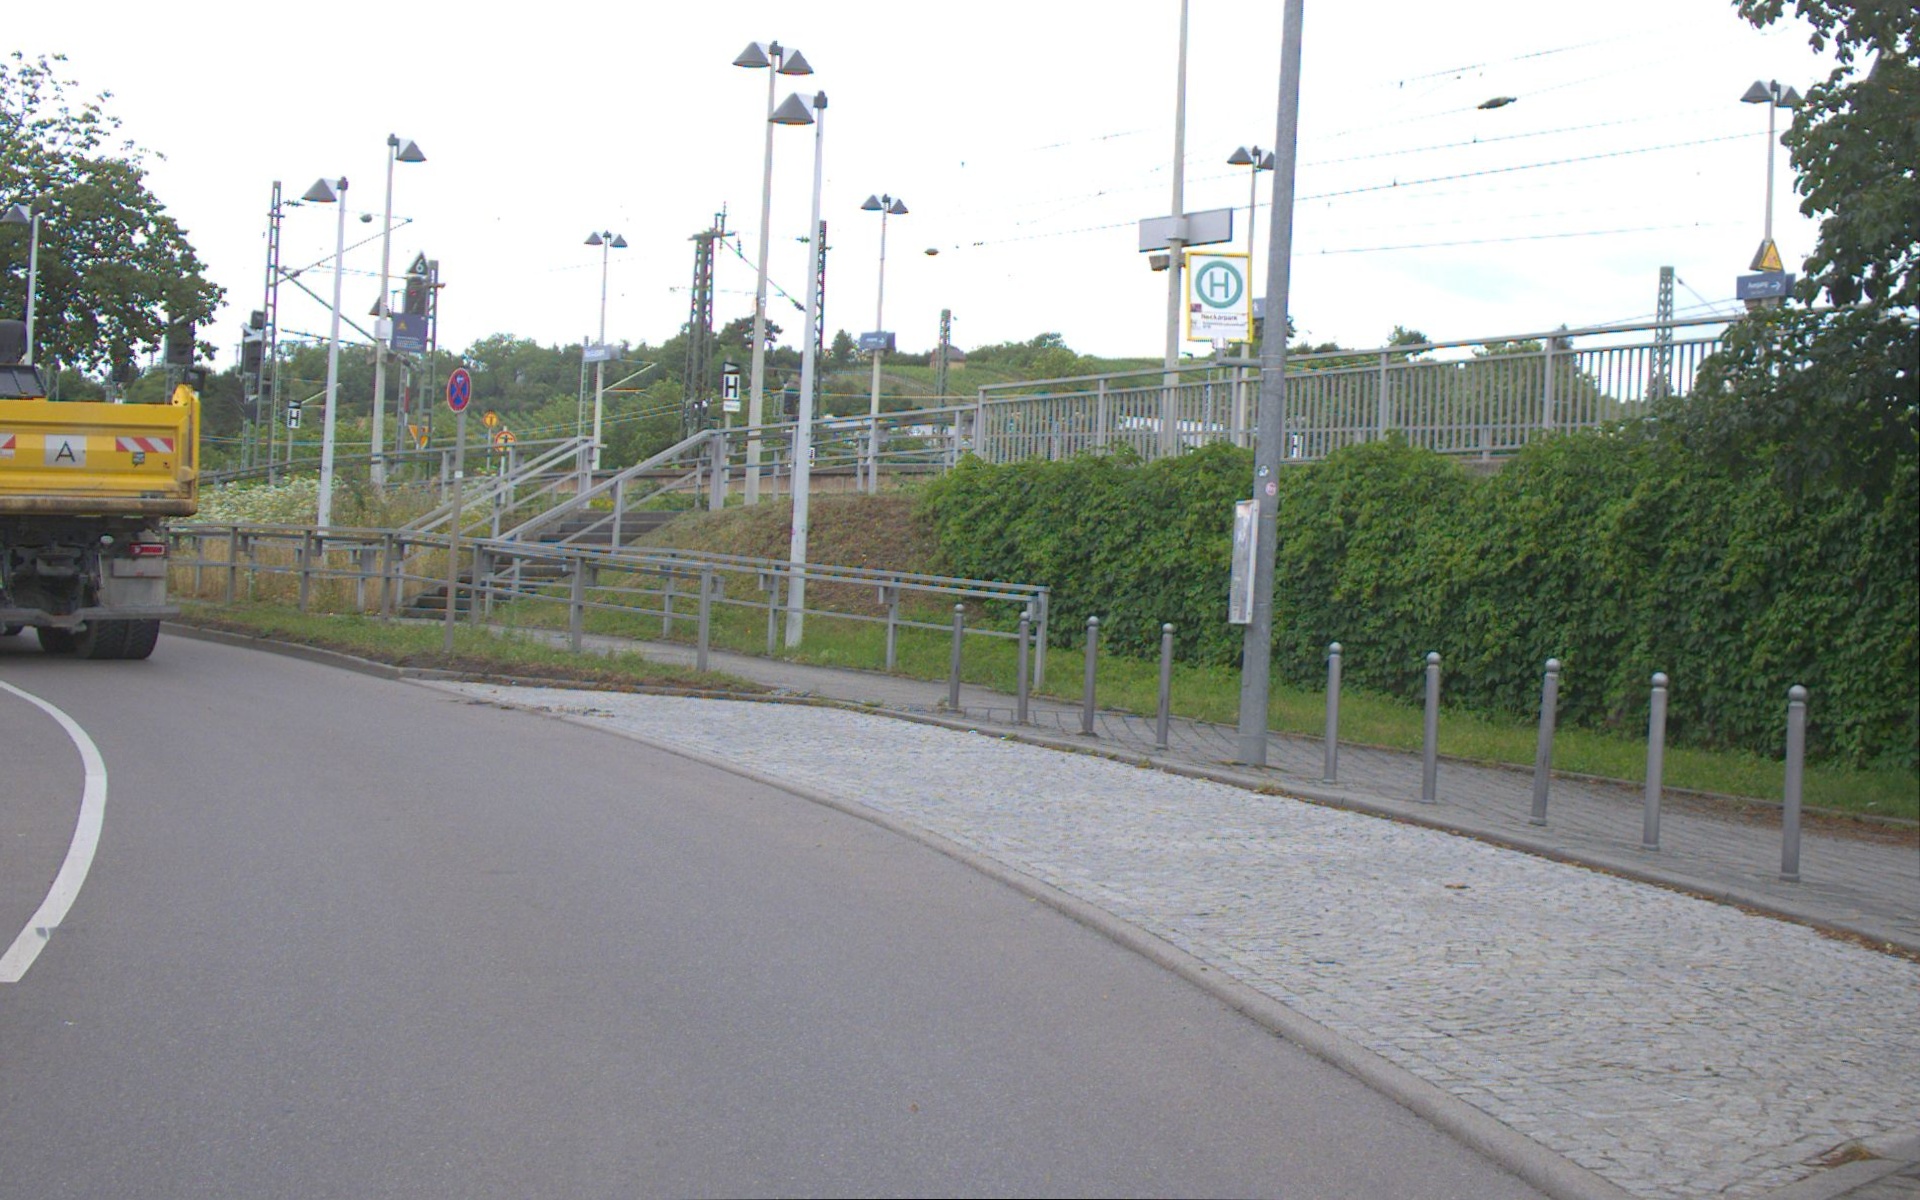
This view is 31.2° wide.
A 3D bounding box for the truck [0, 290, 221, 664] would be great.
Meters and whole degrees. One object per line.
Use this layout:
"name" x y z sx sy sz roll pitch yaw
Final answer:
"truck" -10.409 -1.362 36.081 2.764 3.471 8.131 2 2 -30
